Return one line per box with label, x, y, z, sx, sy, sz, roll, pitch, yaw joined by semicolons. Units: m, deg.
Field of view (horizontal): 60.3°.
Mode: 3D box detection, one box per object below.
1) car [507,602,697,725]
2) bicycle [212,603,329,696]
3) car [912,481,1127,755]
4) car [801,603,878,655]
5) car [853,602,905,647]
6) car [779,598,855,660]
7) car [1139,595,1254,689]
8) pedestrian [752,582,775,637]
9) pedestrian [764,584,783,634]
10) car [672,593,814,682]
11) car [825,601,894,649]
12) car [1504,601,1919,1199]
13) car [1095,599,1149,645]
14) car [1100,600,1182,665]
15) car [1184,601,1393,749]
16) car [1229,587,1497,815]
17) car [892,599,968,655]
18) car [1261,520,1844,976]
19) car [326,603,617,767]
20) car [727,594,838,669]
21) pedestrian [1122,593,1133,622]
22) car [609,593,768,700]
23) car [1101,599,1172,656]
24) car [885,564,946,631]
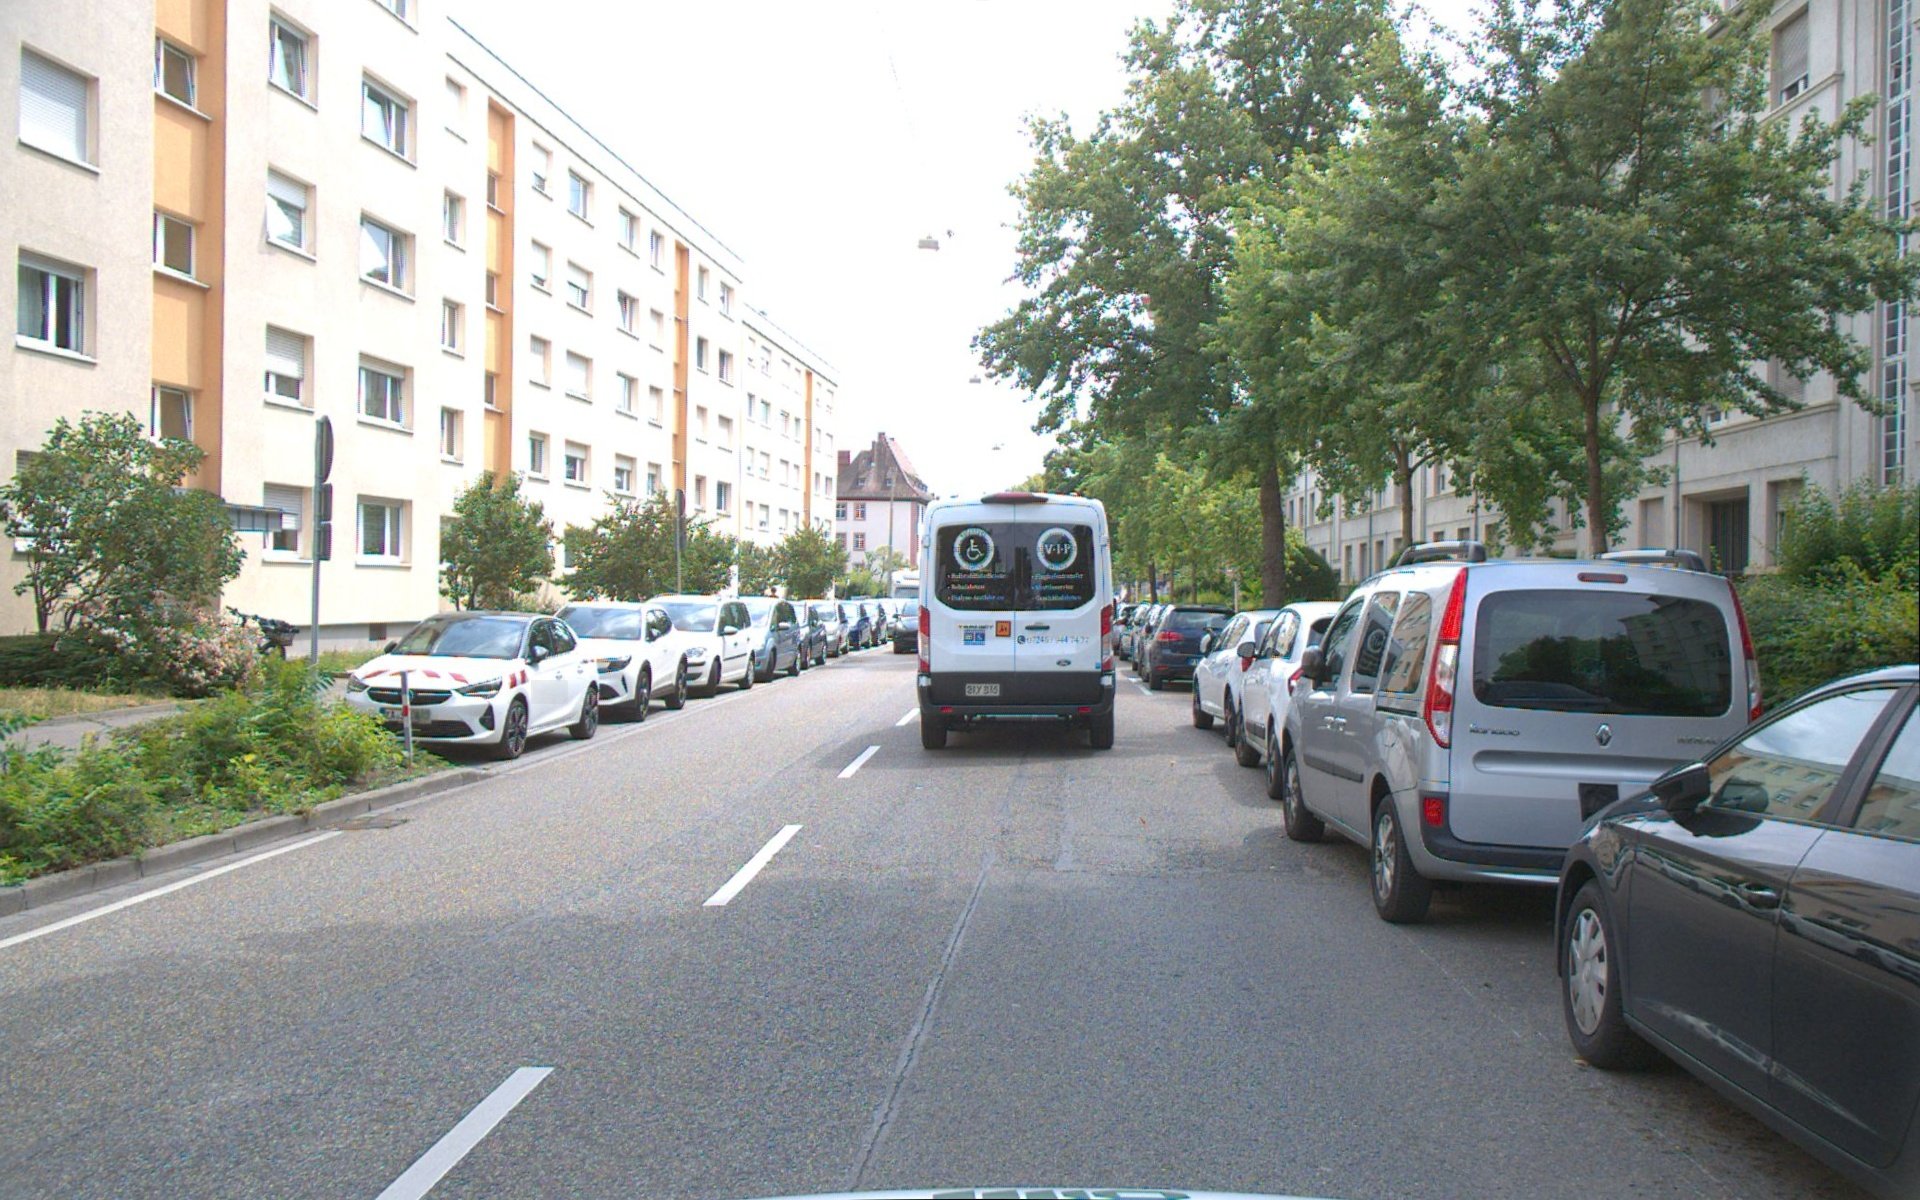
car;-4.906;0.820;23.190;1.673;1.498;3.990;2;0;1
bicycle;-10.148;0.701;24.404;0.566;1.273;1.935;1;1;13
car;0.603;0.175;18.002;2.027;2.585;4.635;0;0;1
car;-3.740;0.870;51.923;1.780;1.509;3.887;2;0;5
car;-3.072;0.926;63.417;1.687;1.566;4.006;1;1;1
car;-3.984;0.784;46.539;1.635;1.589;3.852;2;0;2
car;4.121;0.688;29.330;1.662;1.495;4.103;2;0;3
pedestrian;-6.610;0.315;55.550;0.607;1.844;0.899;1;0;0
pedestrian;-6.856;0.327;60.870;0.607;1.845;0.803;0;0;0
car;-4.368;0.718;34.113;1.901;1.641;4.864;2;0;4
car;-3.448;0.831;57.320;1.780;1.509;4.118;2;0;4
car;2.910;0.776;4.202;1.877;1.469;4.241;2;0;4
car;5.650;0.739;57.761;1.742;1.495;4.617;2;0;6
car;4.592;0.785;42.566;1.662;1.495;4.755;2;0;1
car;3.663;0.773;19.117;1.662;1.475;4.102;1;0;1
car;3.326;0.750;14.297;1.571;1.636;3.806;2;0;4
car;-0.858;0.791;50.110;1.910;1.547;4.615;-2;0;3
car;2.992;0.625;9.564;1.877;1.898;4.848;2;0;4
car;-5.122;0.820;17.926;1.672;1.498;3.991;2;0;4
car;-4.177;0.705;39.539;1.902;1.641;4.304;2;0;3
pedestrian;10.696;0.492;105.530;0.519;1.860;0.516;0;0;-39
car;-4.608;0.739;28.695;1.661;1.641;4.479;2;0;4
car;5.048;0.760;47.825;1.662;1.495;4.719;2;0;2
car;-2.119;-0.133;81.196;2.458;3.077;7.398;2;0;2
